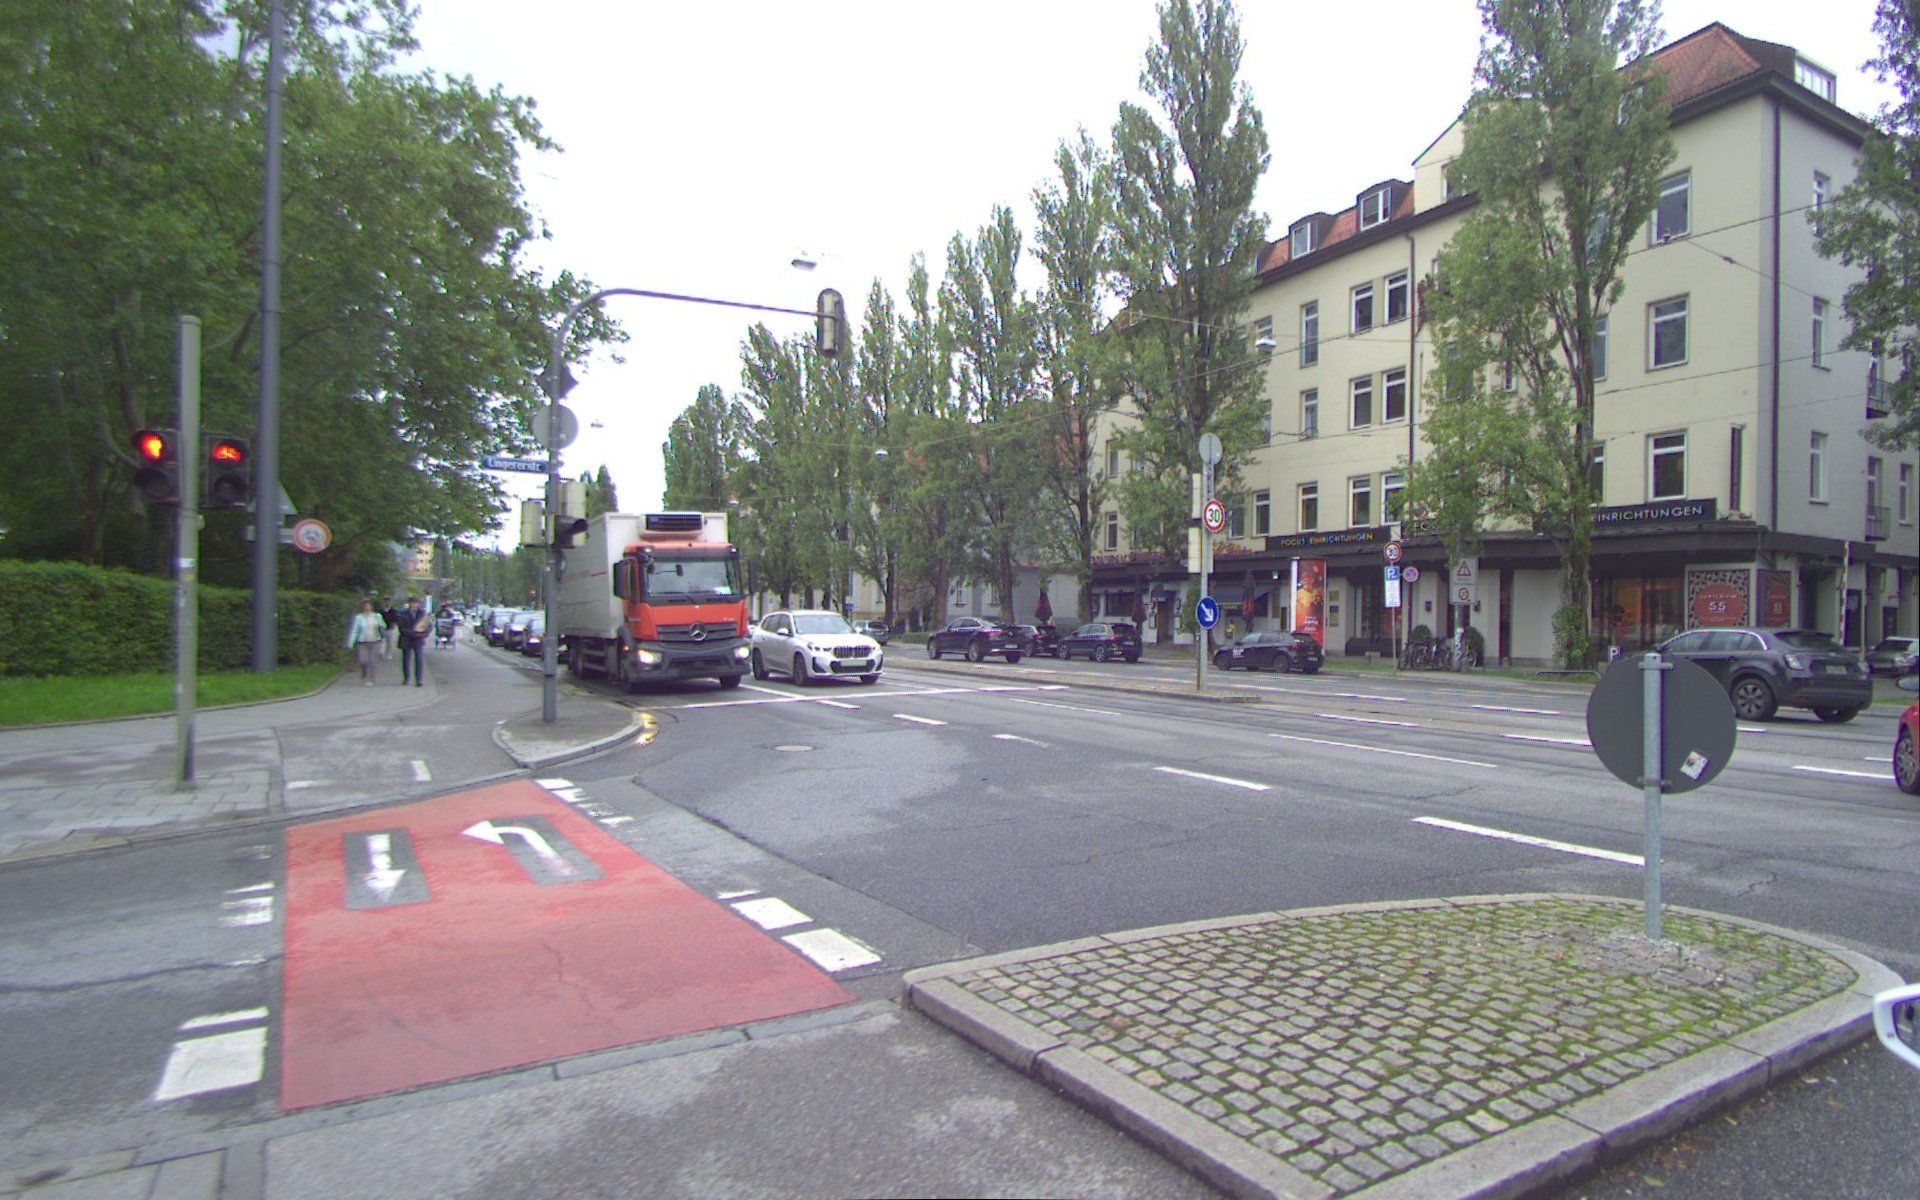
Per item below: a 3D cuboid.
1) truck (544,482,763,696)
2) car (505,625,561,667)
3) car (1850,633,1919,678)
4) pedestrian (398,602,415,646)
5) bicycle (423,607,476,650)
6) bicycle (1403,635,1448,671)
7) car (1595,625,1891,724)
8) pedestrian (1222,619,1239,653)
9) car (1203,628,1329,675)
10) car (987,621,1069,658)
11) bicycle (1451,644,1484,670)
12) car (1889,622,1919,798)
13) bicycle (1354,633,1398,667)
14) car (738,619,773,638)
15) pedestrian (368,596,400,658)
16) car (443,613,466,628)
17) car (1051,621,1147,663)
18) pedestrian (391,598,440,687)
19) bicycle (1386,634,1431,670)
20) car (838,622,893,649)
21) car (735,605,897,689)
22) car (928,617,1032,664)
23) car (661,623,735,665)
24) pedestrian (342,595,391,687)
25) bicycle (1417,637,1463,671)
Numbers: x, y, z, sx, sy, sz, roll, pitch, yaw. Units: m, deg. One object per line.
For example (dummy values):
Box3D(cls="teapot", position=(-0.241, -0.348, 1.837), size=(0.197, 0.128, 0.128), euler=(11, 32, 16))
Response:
Box3D(cls="truck", position=(-8.025, -0.127, 24.708), size=(2.715, 4.033, 11.624), euler=(0, -1, -29))
Box3D(cls="car", position=(-18.718, 1.970, 43.916), size=(1.783, 1.664, 4.962), euler=(1, -1, -28))
Box3D(cls="car", position=(33.051, 1.912, 35.289), size=(3.958, 1.461, 1.715), euler=(2, -1, -33))
Box3D(cls="pedestrian", position=(-26.479, 1.151, 48.057), size=(0.607, 2.040, 0.676), euler=(2, 0, -23))
Box3D(cls="bicycle", position=(-20.204, 1.084, 39.682), size=(1.513, 1.487, 3.965), euler=(2, 0, -32))
Box3D(cls="bicycle", position=(15.830, 1.794, 34.143), size=(1.869, 1.200, 0.492), euler=(2, -1, -33))
Box3D(cls="car", position=(13.377, 1.206, 17.510), size=(1.754, 1.505, 3.995), euler=(1, -1, -8))
Box3D(cls="pedestrian", position=(12.987, 1.718, 48.180), size=(0.567, 1.583, 0.492), euler=(2, 0, -29))
Box3D(cls="car", position=(10.520, 1.750, 34.787), size=(1.786, 1.485, 3.964), euler=(2, -2, -33))
Box3D(cls="car", position=(3.169, 1.825, 47.558), size=(1.784, 1.633, 4.271), euler=(1, -1, -30))
Box3D(cls="bicycle", position=(17.534, 1.957, 34.695), size=(1.357, 0.895, 0.385), euler=(2, -1, -33))
Box3D(cls="car", position=(8.392, 0.903, 7.537), size=(1.607, 1.459, 3.366), euler=(0, -1, 34))
Box3D(cls="bicycle", position=(14.910, 1.782, 35.977), size=(1.869, 1.200, 0.492), euler=(2, -1, -33))
Box3D(cls="car", position=(-17.281, 2.384, 84.864), size=(1.783, 1.528, 3.970), euler=(2, -2, -28))
Box3D(cls="pedestrian", position=(-17.270, 0.816, 30.124), size=(0.681, 1.834, 0.653), euler=(2, -1, -42))
Box3D(cls="car", position=(-52.699, 2.106, 104.715), size=(1.785, 1.551, 4.481), euler=(-1, 0, -31))
Box3D(cls="car", position=(5.859, 1.749, 42.768), size=(1.706, 1.633, 4.435), euler=(1, -1, -30))
Box3D(cls="pedestrian", position=(-10.609, 0.823, 19.575), size=(0.681, 1.685, 0.653), euler=(2, -1, -42))
Box3D(cls="bicycle", position=(15.557, 1.783, 34.792), size=(1.869, 1.200, 0.492), euler=(2, -1, -33))
Box3D(cls="car", position=(-6.062, 2.257, 64.111), size=(1.784, 1.633, 4.511), euler=(1, -1, -30))
Box3D(cls="car", position=(-3.441, 1.010, 23.082), size=(1.900, 1.705, 4.849), euler=(1, -1, -32))
Box3D(cls="car", position=(0.628, 1.422, 36.270), size=(1.720, 1.569, 4.542), euler=(1, -1, -29))
Box3D(cls="car", position=(-11.346, 1.861, 43.262), size=(1.807, 1.660, 4.851), euler=(1, -1, -30))
Box3D(cls="pedestrian", position=(-11.217, 0.768, 18.988), size=(0.681, 1.685, 0.548), euler=(2, -1, -42))
Box3D(cls="bicycle", position=(16.127, 1.814, 33.712), size=(1.869, 1.096, 0.492), euler=(2, -1, -33))
